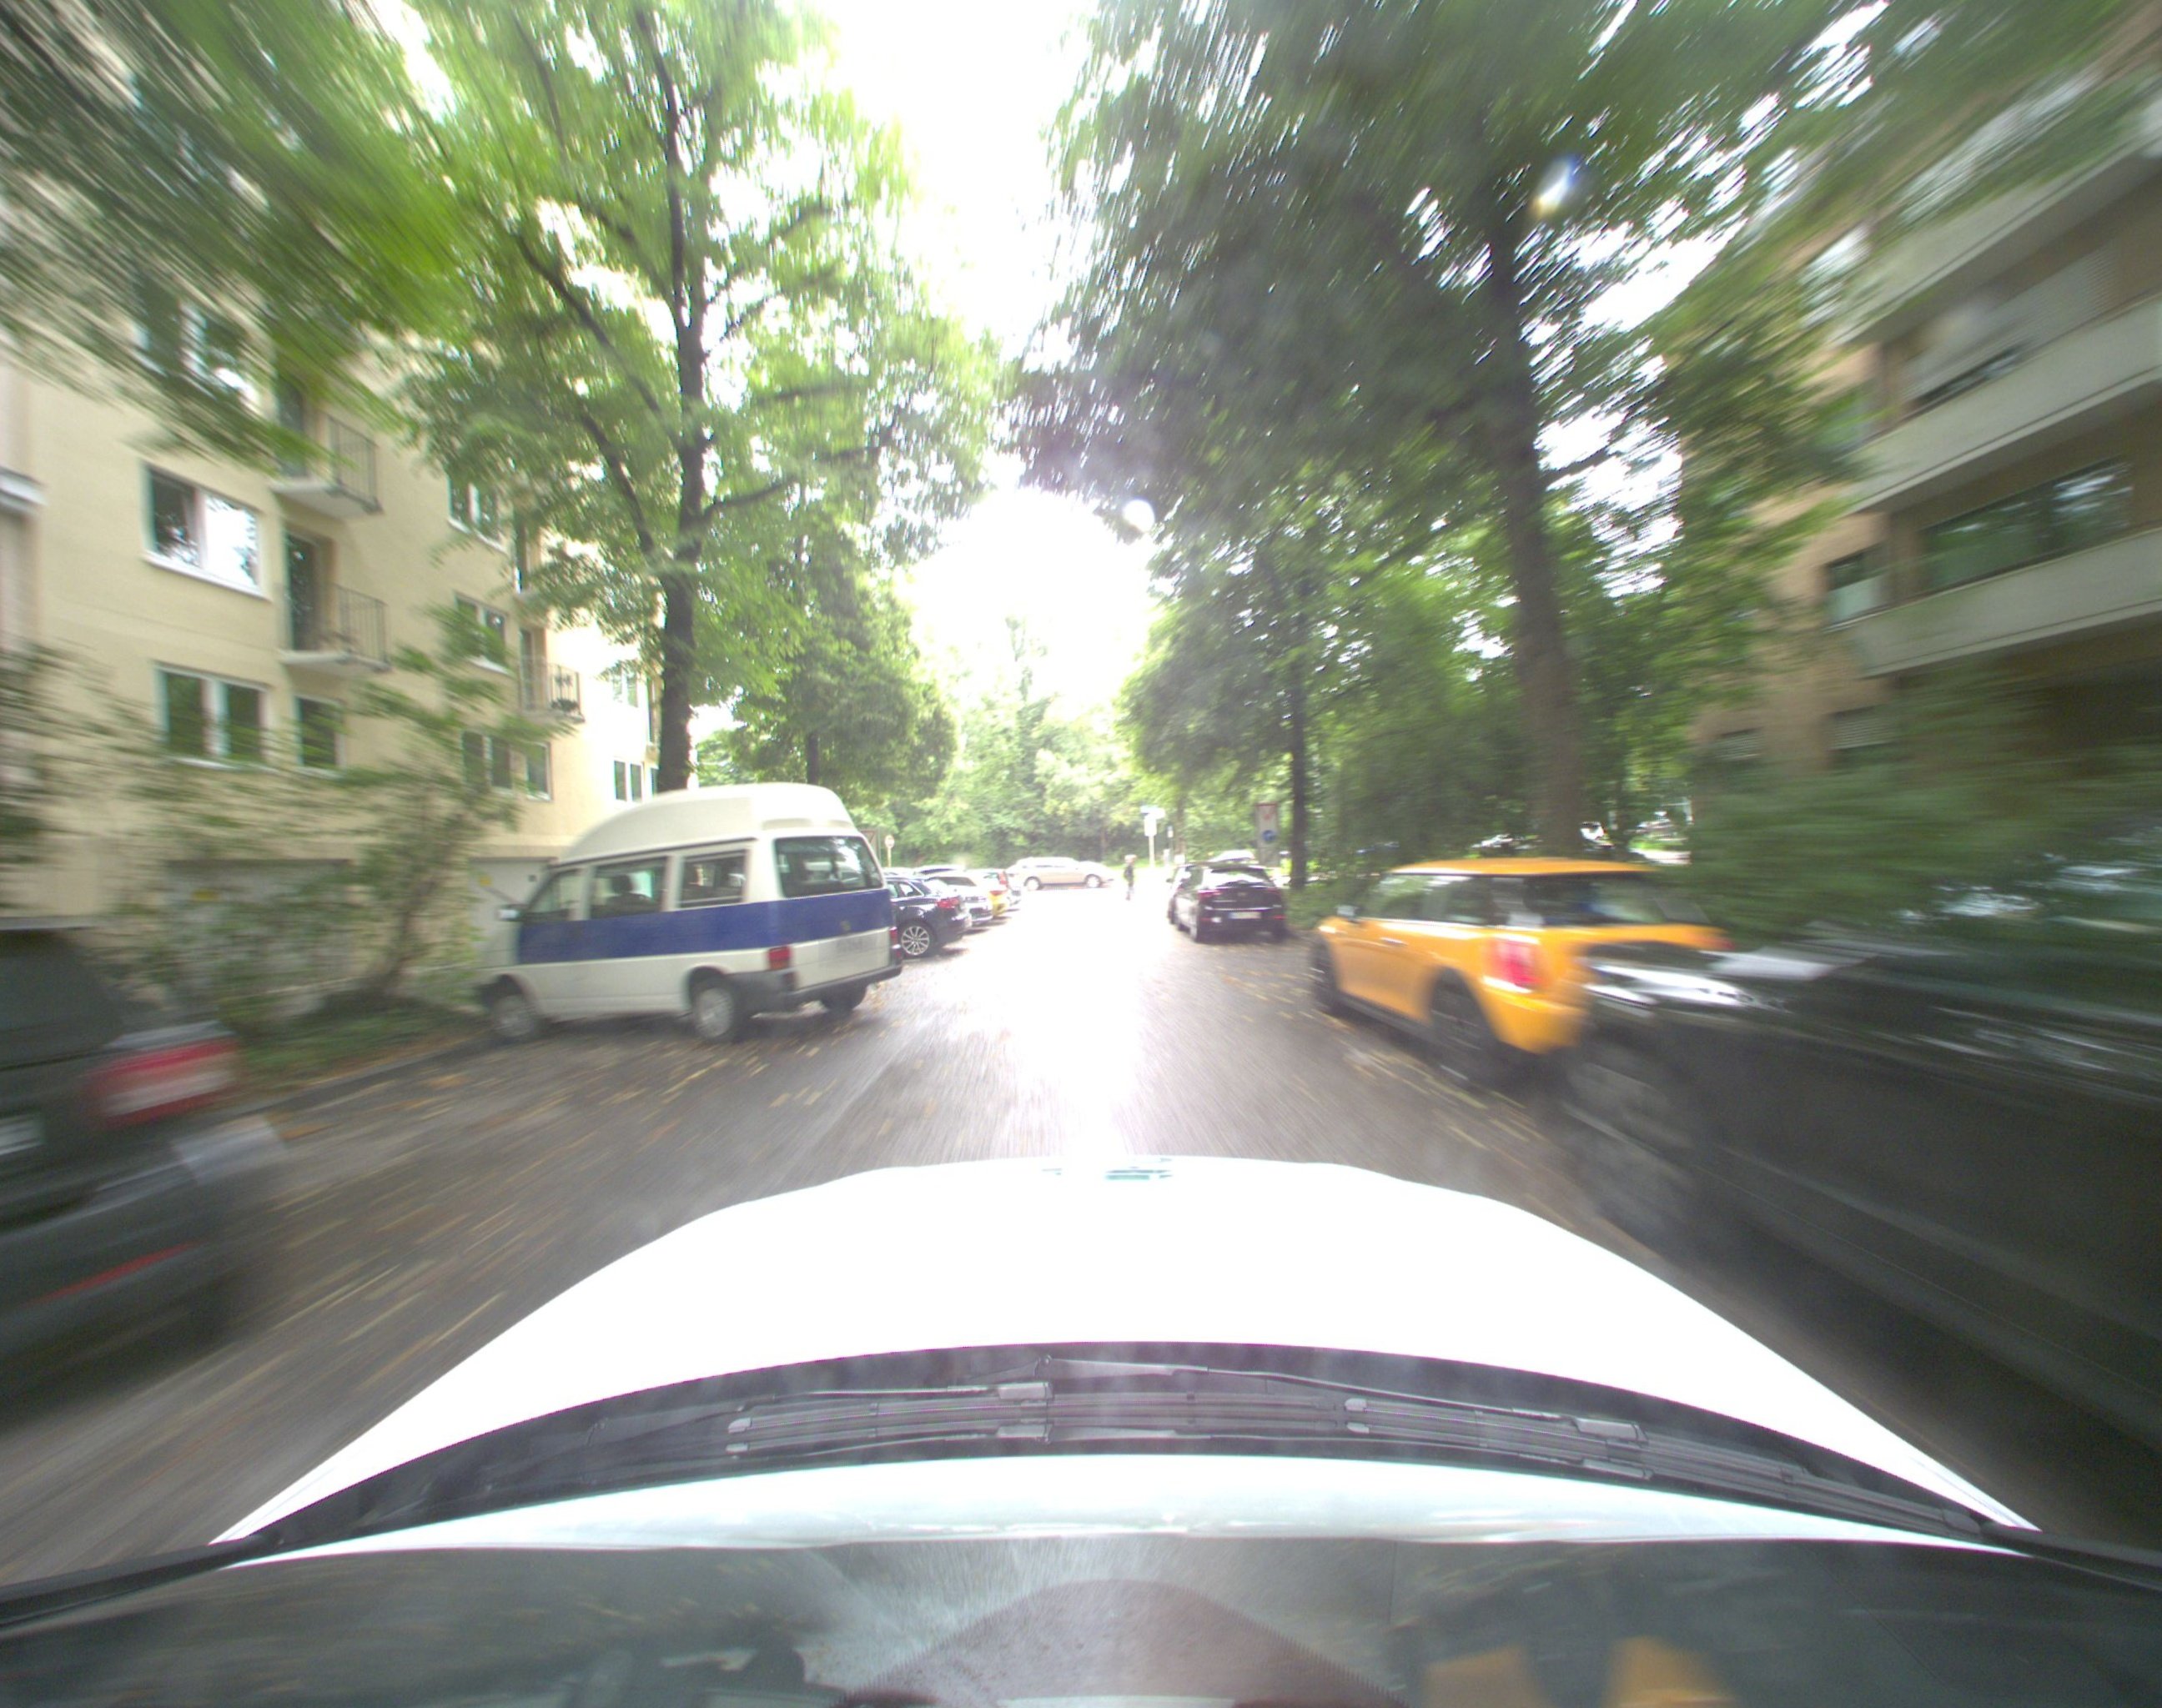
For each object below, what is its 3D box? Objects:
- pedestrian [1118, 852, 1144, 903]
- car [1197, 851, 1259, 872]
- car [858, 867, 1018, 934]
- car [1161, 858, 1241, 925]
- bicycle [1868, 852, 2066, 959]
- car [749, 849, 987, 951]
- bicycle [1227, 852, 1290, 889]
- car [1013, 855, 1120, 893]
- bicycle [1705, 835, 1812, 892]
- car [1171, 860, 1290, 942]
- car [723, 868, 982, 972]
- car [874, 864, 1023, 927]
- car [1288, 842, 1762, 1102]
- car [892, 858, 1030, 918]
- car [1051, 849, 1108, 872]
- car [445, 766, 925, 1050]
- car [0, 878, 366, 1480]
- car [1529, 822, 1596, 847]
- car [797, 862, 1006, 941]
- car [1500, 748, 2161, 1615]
[{"bbox_3d":[1.665,0.770,27.205,0.776,1.617,0.761,-3,2,3],"label":"pedestrian"},{"bbox_3d":[12.073,0.618,67.059,4.578,1.472,1.927,-3,-1,-8],"label":"car"},{"bbox_3d":[-3.731,1.194,21.762,3.867,1.441,1.740,-4,0,-1],"label":"car"},{"bbox_3d":[2.958,0.878,20.697,1.640,1.474,3.647,-3,0,4],"label":"car"},{"bbox_3d":[10.221,0.573,9.412,1.828,1.083,0.546,-3,0,-7],"label":"bicycle"},{"bbox_3d":[-4.315,0.917,16.945,4.294,1.731,1.850,-4,0,4],"label":"car"},{"bbox_3d":[5.220,0.482,24.030,1.741,0.982,0.274,-4,-1,10],"label":"bicycle"},{"bbox_3d":[-0.636,0.923,38.414,4.777,1.495,1.845,-3,0,6],"label":"car"},{"bbox_3d":[13.597,0.182,16.417,0.552,1.044,1.836,-3,0,-1],"label":"bicycle"},{"bbox_3d":[2.870,0.849,16.438,1.676,1.358,4.009,-2,0,1],"label":"car"},{"bbox_3d":[-3.897,1.103,14.372,3.973,1.433,1.736,-4,0,0],"label":"car"},{"bbox_3d":[-3.816,1.181,23.914,3.973,1.464,1.736,-4,0,0],"label":"car"},{"bbox_3d":[3.054,0.679,6.588,1.614,1.412,3.776,-3,0,-3],"label":"car"},{"bbox_3d":[-3.871,1.086,26.838,4.148,1.601,1.736,-4,1,0],"label":"car"},{"bbox_3d":[-0.121,0.494,65.704,4.422,1.579,1.931,-3,-1,-2],"label":"car"},{"bbox_3d":[-4.177,0.592,8.581,4.527,2.377,1.916,-4,-1,23],"label":"car"},{"bbox_3d":[-4.612,1.019,3.043,3.817,1.561,1.827,-5,-2,32],"label":"car"},{"bbox_3d":[38.462,-1.537,65.030,4.513,1.668,1.922,-3,-1,-15],"label":"car"},{"bbox_3d":[-4.209,1.107,19.489,4.426,1.596,1.838,-3,0,6],"label":"car"},{"bbox_3d":[2.916,0.578,1.683,1.825,1.629,4.527,-3,0,2],"label":"car"}]
